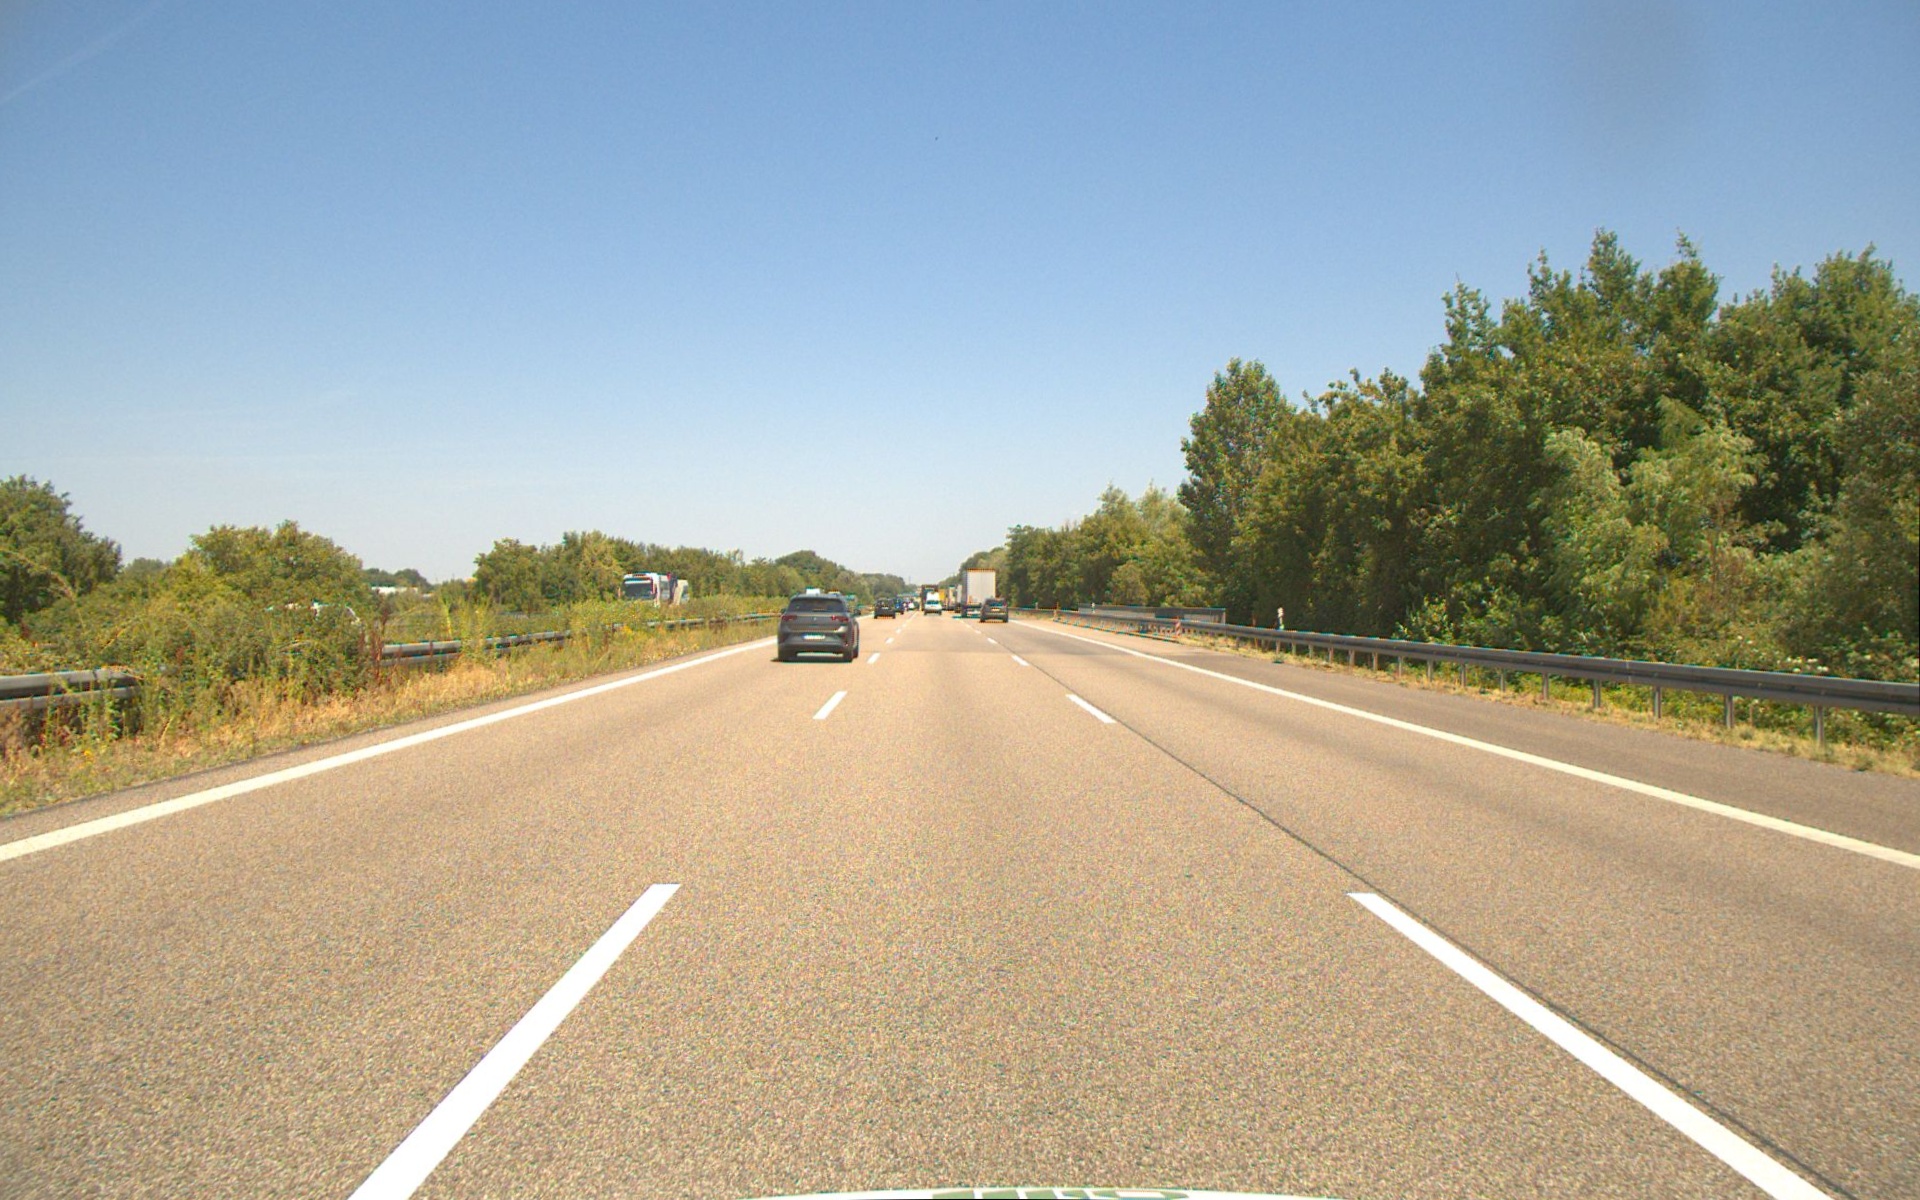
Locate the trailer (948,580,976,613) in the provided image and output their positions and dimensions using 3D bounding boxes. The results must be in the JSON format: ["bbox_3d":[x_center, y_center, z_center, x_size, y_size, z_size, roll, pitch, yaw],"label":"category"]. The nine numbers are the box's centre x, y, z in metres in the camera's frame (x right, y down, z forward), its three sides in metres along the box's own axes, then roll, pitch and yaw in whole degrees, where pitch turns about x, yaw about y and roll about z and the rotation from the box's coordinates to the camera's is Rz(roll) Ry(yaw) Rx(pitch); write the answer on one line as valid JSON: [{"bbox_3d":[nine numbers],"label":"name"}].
[{"bbox_3d":[0.160,-0.439,206.604,3.060,3.995,9.932,1,0,-2],"label":"trailer"}]

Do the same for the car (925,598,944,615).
[{"bbox_3d":[-2.546,0.656,166.662,1.862,1.557,4.083,1,0,-1],"label":"car"}]

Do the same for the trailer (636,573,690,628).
[{"bbox_3d":[-23.261,0.005,129.939,2.867,4.060,9.654,1,0,-2],"label":"trailer"}]

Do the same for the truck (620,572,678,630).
[{"bbox_3d":[-22.956,0.037,122.409,2.859,4.060,9.618,1,0,-3],"label":"truck"}]

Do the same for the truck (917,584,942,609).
[{"bbox_3d":[-4.667,-0.521,254.920,3.592,3.791,7.108,1,0,0],"label":"truck"}]

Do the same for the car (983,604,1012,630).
[{"bbox_3d":[2.482,1.128,111.441,1.808,1.657,4.134,0,0,-1],"label":"car"}]

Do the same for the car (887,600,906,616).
[{"bbox_3d":[-6.617,0.793,172.015,1.869,1.557,4.284,1,0,-1],"label":"car"}]

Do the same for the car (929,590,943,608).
[{"bbox_3d":[-3.299,-0.138,230.684,1.869,2.467,4.284,1,0,-1],"label":"car"}]

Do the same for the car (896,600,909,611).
[{"bbox_3d":[-8.340,0.822,239.627,1.869,1.557,4.284,1,0,-1],"label":"car"}]

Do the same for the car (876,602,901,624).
[{"bbox_3d":[-5.479,0.969,127.131,1.862,1.557,4.083,1,0,-1],"label":"car"}]

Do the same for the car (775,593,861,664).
[{"bbox_3d":[-3.325,0.627,39.431,1.723,1.557,4.284,1,0,-1],"label":"car"}]

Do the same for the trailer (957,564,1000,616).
[{"bbox_3d":[1.572,-0.757,145.351,3.365,4.254,13.629,1,-1,-1],"label":"trailer"}]
